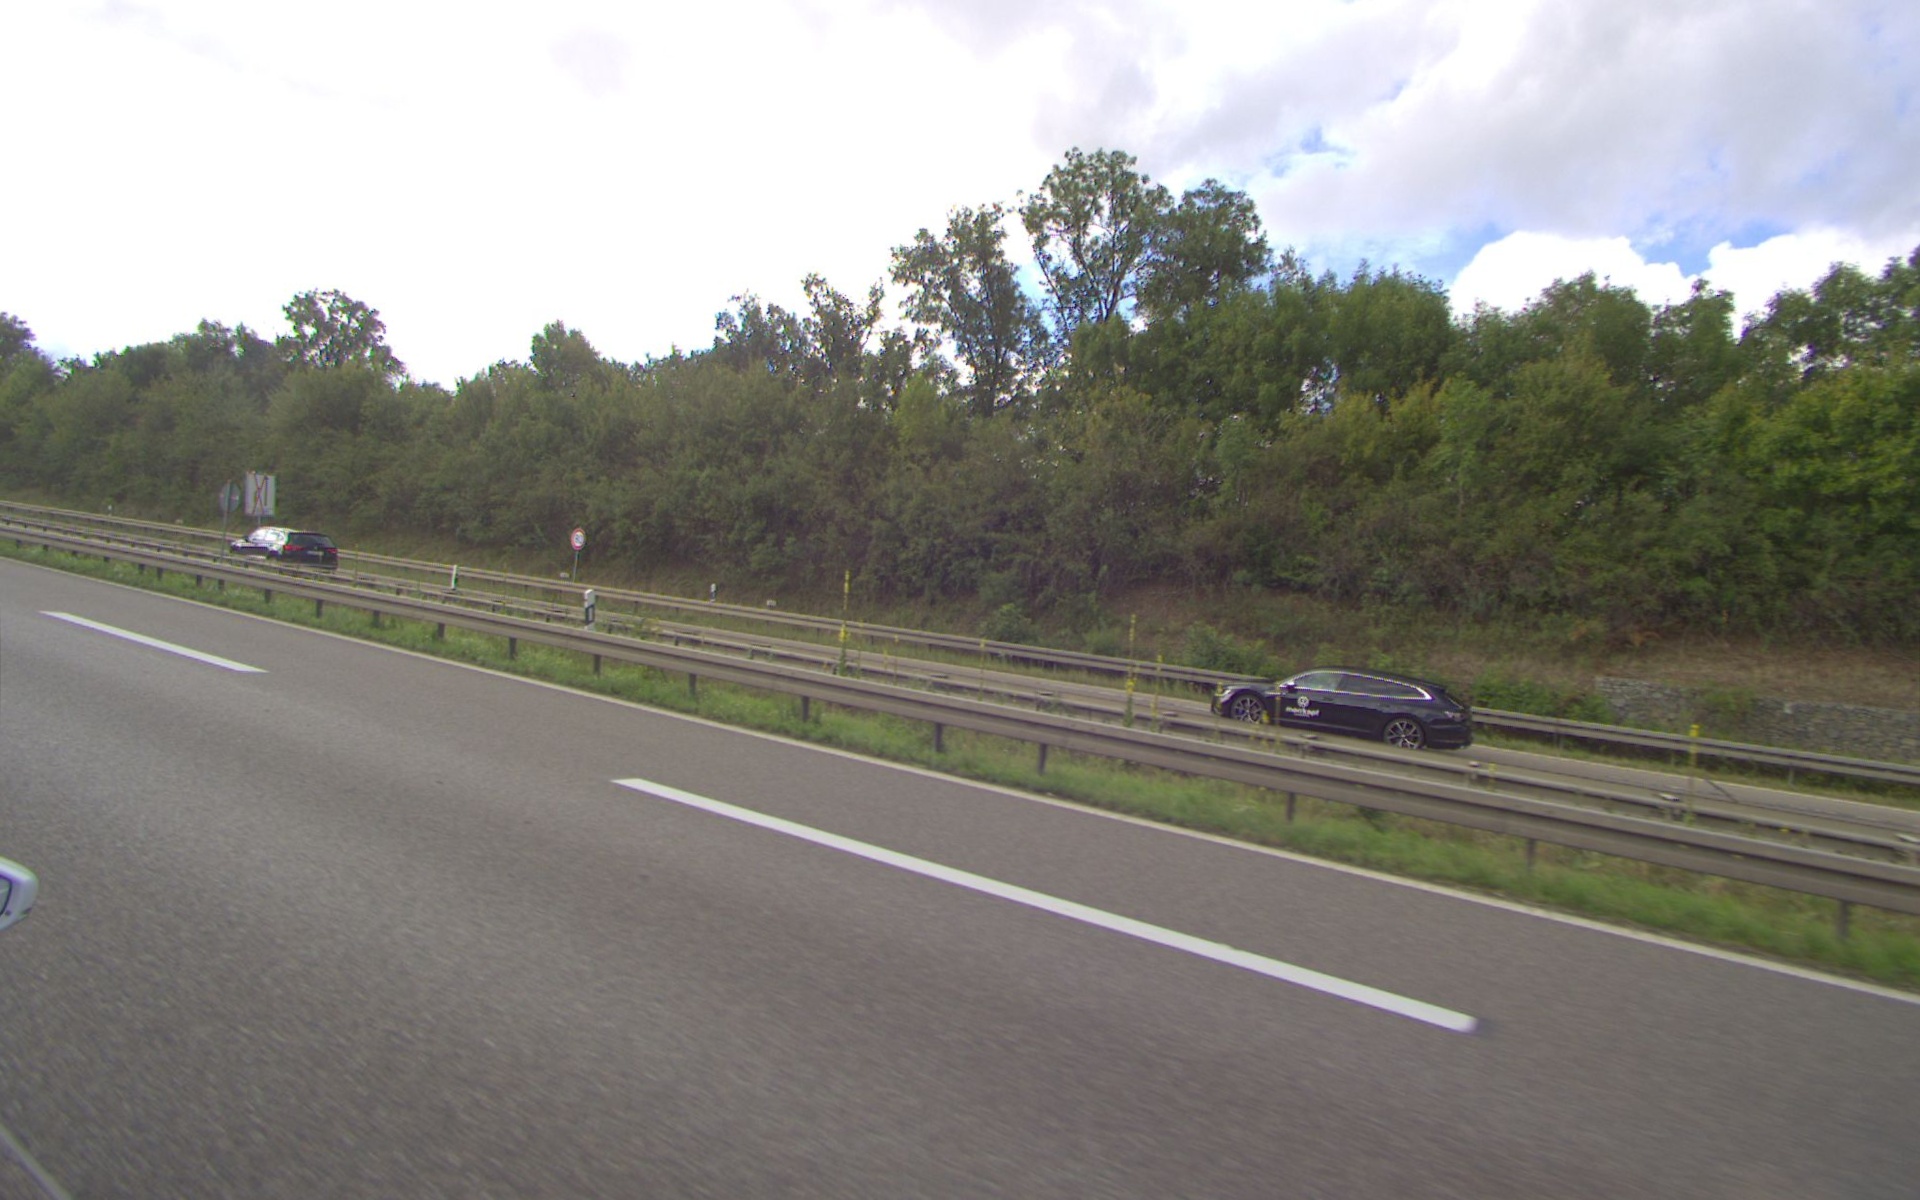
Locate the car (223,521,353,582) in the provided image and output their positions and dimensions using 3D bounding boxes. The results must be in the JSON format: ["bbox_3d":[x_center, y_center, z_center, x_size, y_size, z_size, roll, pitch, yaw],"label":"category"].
[{"bbox_3d":[-22.415,-1.623,33.503,4.450,1.503,1.844,7,1,32],"label":"car"}]

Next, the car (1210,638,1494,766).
[{"bbox_3d":[7.435,1.832,19.232,4.684,1.623,1.845,7,2,31],"label":"car"}]
